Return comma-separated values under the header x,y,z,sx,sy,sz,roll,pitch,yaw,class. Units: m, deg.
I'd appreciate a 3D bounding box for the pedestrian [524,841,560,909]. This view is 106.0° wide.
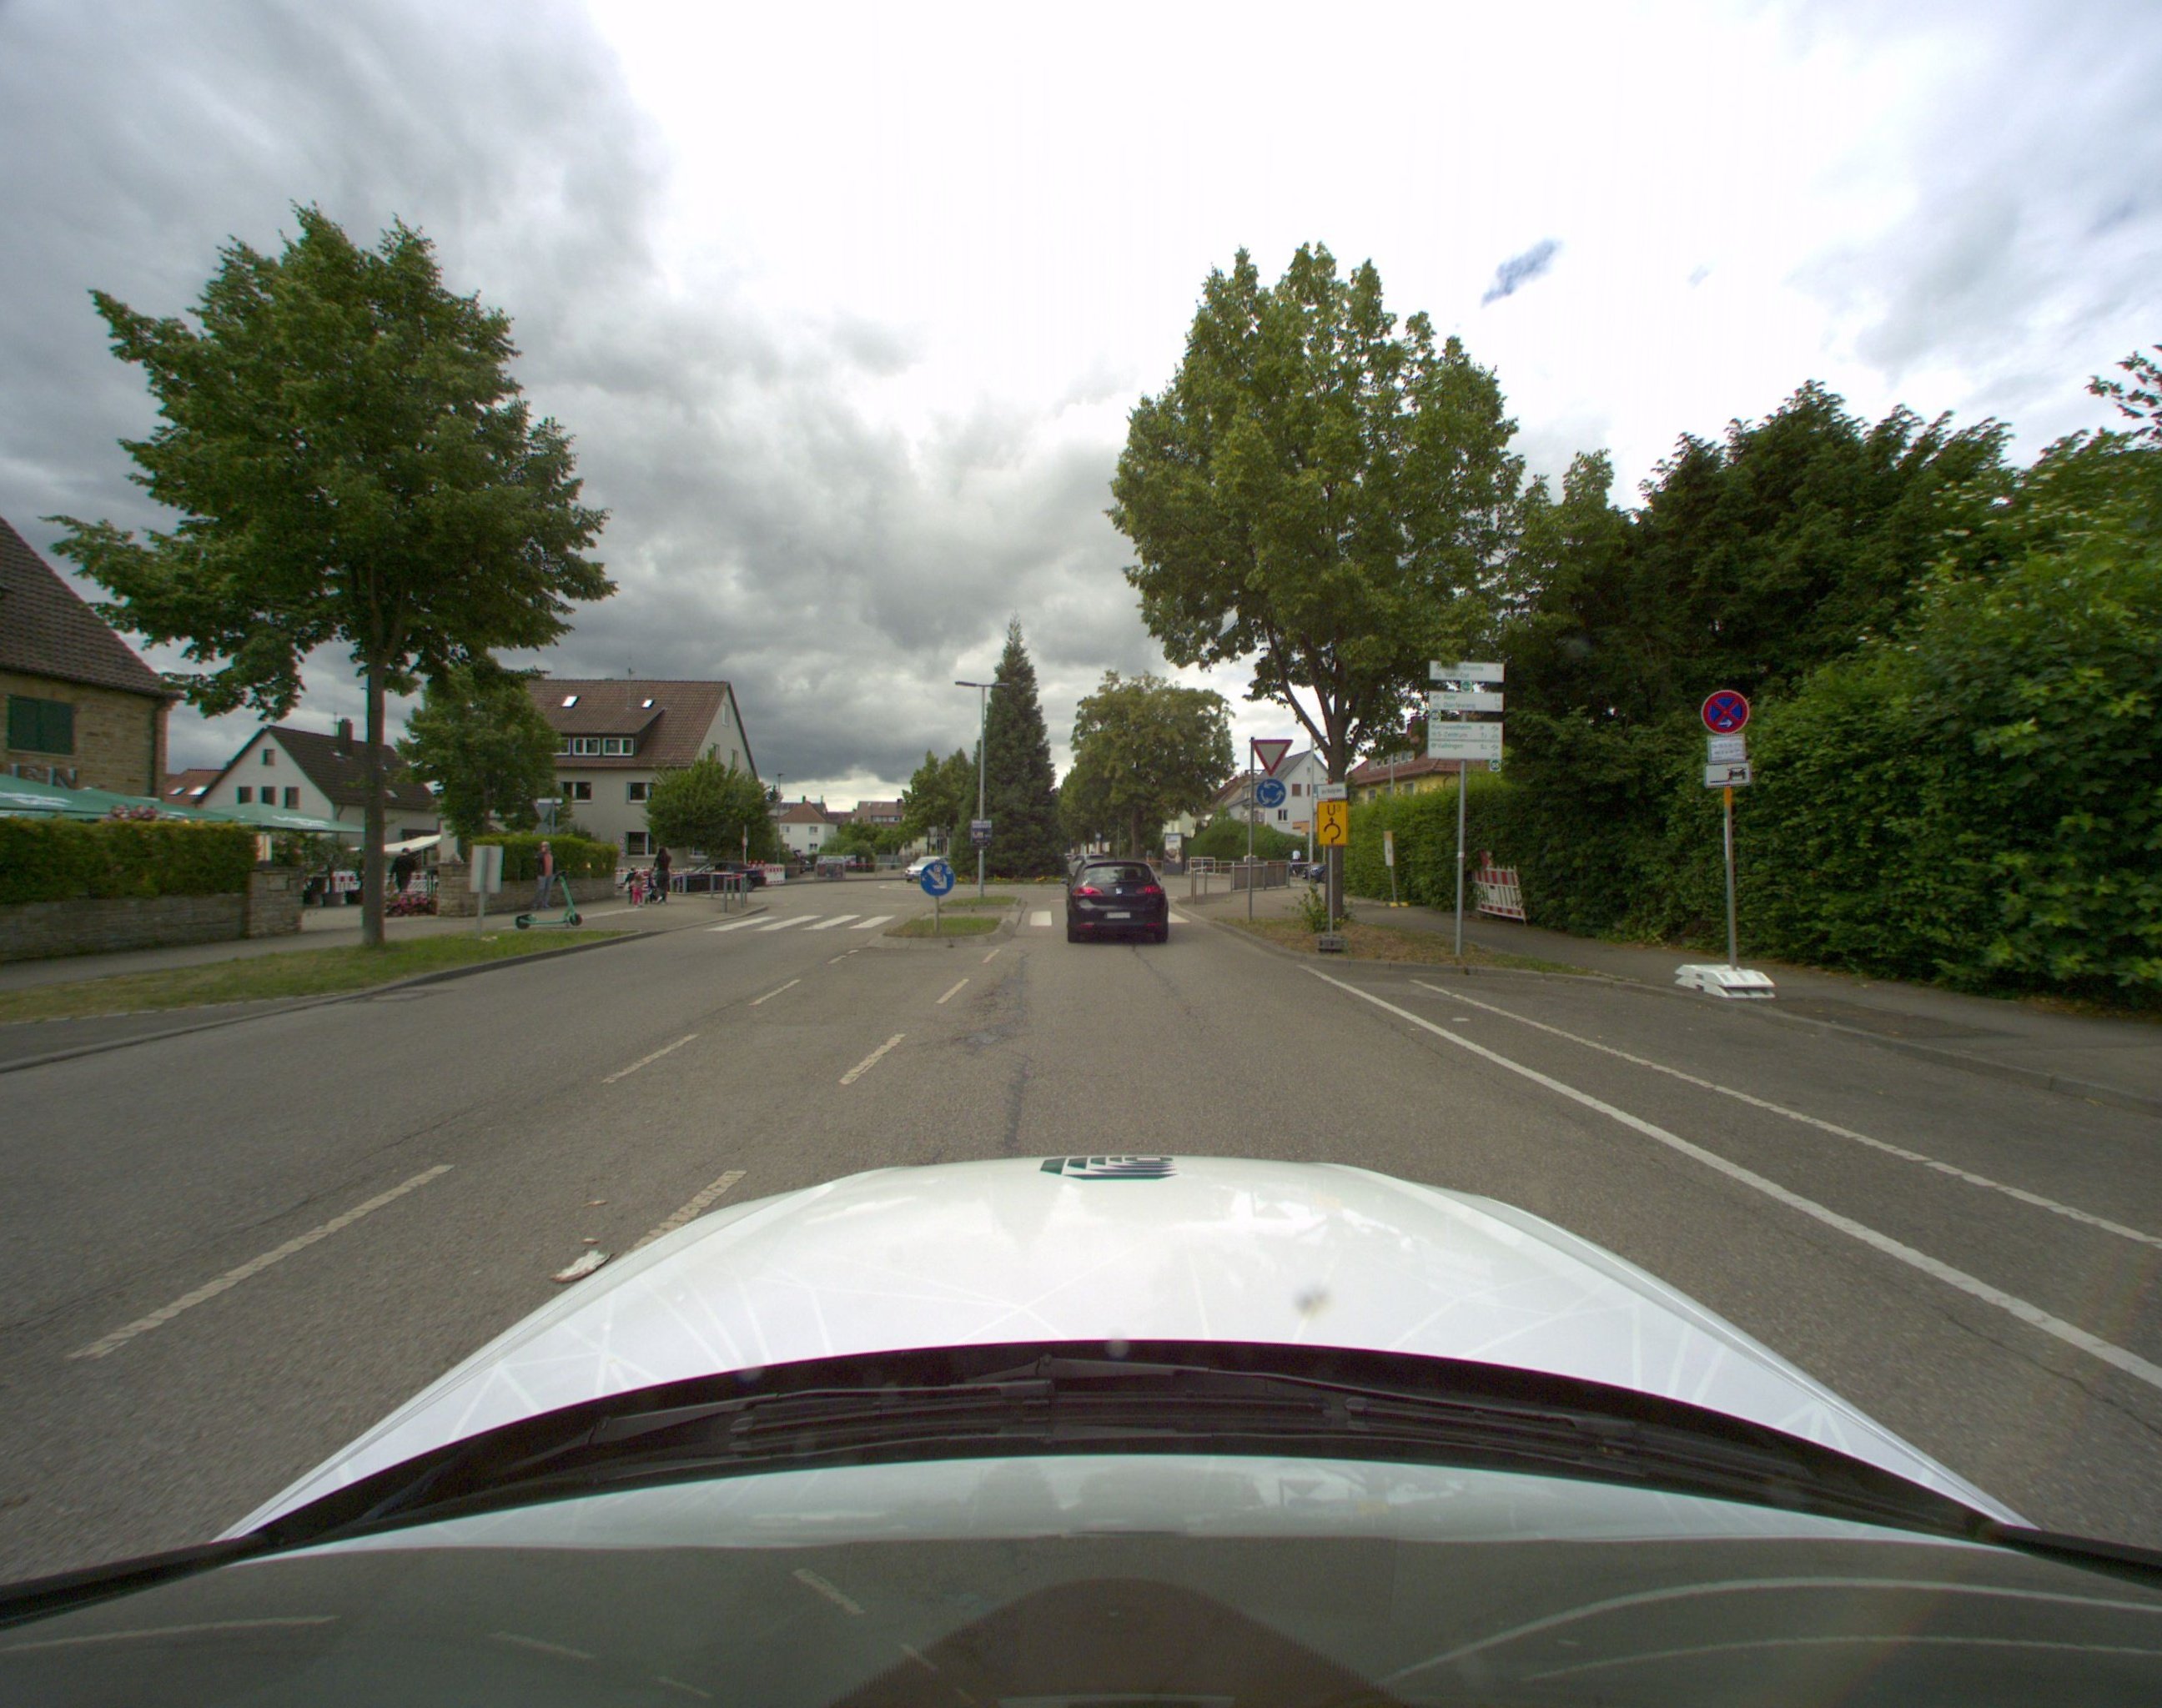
x,y,z,sx,sy,sz,roll,pitch,yaw,class
-14.370,0.539,21.718,0.535,1.784,0.564,0,0,14,pedestrian

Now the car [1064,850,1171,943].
x,y,z,sx,sy,sz,roll,pitch,yaw,class
0.564,0.693,15.196,1.727,1.486,3.998,-1,0,-1,car

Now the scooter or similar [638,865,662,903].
x,y,z,sx,sy,sz,roll,pitch,yaw,class
-13.005,0.893,24.557,0.409,1.095,0.959,3,-1,-39,scooter or similar

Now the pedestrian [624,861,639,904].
x,y,z,sx,sy,sz,roll,pitch,yaw,class
-13.328,0.834,24.159,0.344,1.244,0.350,0,0,-34,pedestrian

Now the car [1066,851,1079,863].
x,y,z,sx,sy,sz,roll,pitch,yaw,class
-1.130,0.439,105.401,1.591,1.510,3.596,-1,0,-3,car

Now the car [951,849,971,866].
x,y,z,sx,sy,sz,roll,pitch,yaw,class
-14.663,0.410,99.872,2.025,1.970,3.995,-1,0,-3,car

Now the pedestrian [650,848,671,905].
x,y,z,sx,sy,sz,roll,pitch,yaw,class
-12.439,0.659,24.067,0.485,1.669,0.510,0,0,-35,pedestrian

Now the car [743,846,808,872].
x,y,z,sx,sy,sz,roll,pitch,yaw,class
-19.712,0.336,52.688,3.574,1.611,1.601,-1,0,2,car

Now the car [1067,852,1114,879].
x,y,z,sx,sy,sz,roll,pitch,yaw,class
0.559,0.701,52.110,1.997,1.613,3.979,0,0,-15,car

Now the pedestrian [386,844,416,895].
x,y,z,sx,sy,sz,roll,pitch,yaw,class
-20.497,0.459,24.554,0.654,1.539,0.504,0,0,-34,pedestrian

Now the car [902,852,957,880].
x,y,z,sx,sy,sz,roll,pitch,yaw,class
-9.008,0.689,48.711,1.858,1.560,4.271,-1,0,9,car

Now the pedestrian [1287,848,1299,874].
x,y,z,sx,sy,sz,roll,pitch,yaw,class
12.231,0.397,46.952,0.485,1.533,0.488,-1,0,39,pedestrian

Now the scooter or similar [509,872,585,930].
x,y,z,sx,sy,sz,roll,pitch,yaw,class
-11.021,0.954,16.846,1.292,1.138,0.344,-1,0,-33,scooter or similar

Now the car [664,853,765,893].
x,y,z,sx,sy,sz,roll,pitch,yaw,class
-15.742,0.770,35.076,3.642,1.634,1.554,-1,0,-43,car

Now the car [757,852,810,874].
x,y,z,sx,sy,sz,roll,pitch,yaw,class
-19.904,0.591,54.600,3.029,1.382,1.340,-1,0,2,car

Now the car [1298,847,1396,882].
x,y,z,sx,sy,sz,roll,pitch,yaw,class
13.207,0.514,40.579,4.384,1.661,1.649,1,0,-1,car

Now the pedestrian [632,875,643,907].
x,y,z,sx,sy,sz,roll,pitch,yaw,class
-12.463,1.029,22.866,0.240,0.894,0.257,1,-1,-35,pedestrian
